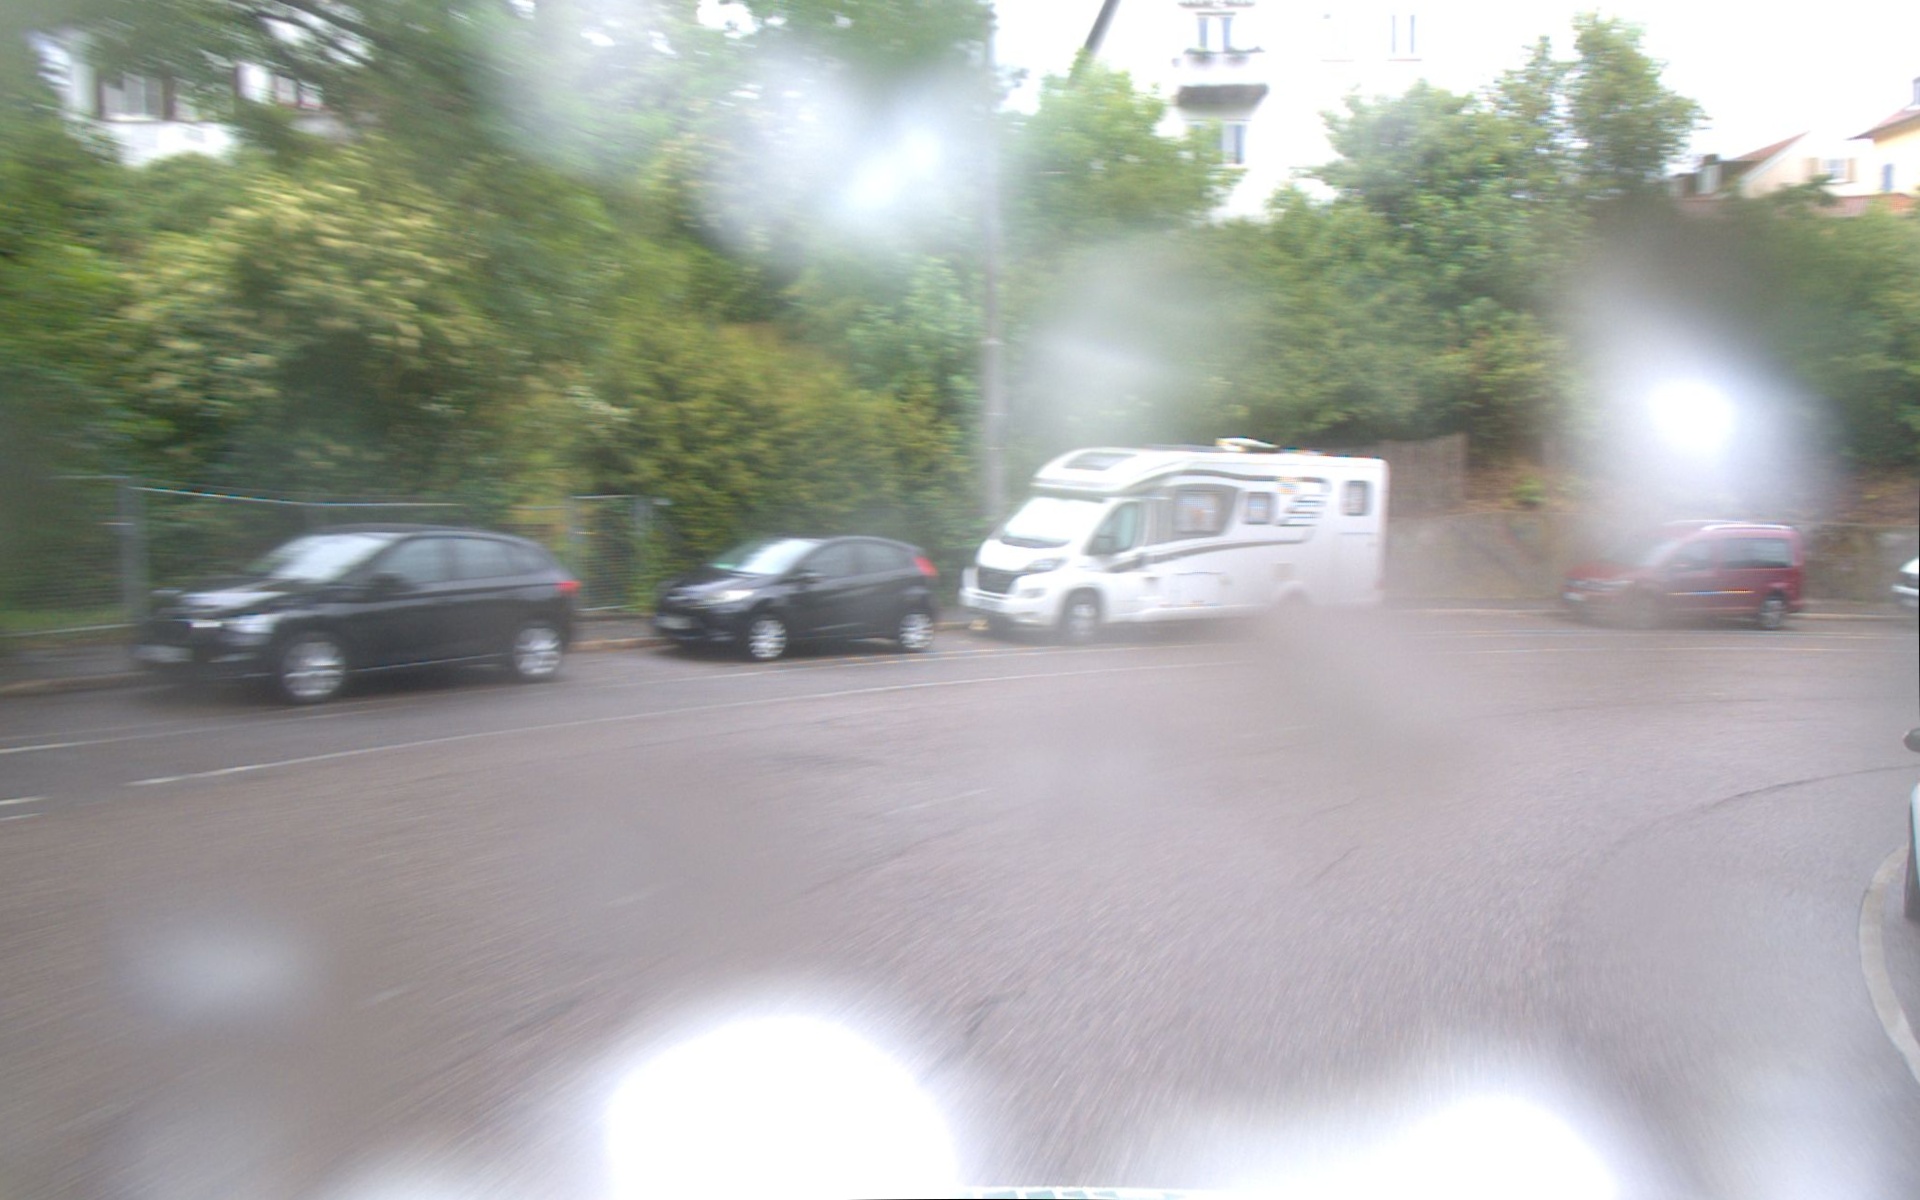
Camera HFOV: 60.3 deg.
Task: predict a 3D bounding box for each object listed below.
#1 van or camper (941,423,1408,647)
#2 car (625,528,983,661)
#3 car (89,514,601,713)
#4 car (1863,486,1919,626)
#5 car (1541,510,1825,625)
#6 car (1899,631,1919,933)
[{"bbox_3d":[3.442,-1.019,25.150,7.577,2.982,2.175,-1,5,-36],"label":"van or camper"},{"bbox_3d":[-1.832,-0.100,20.447,1.730,1.379,4.283,6,5,44],"label":"car"},{"bbox_3d":[-5.450,0.034,15.250,1.745,1.490,4.306,4,3,29],"label":"car"},{"bbox_3d":[21.708,-0.756,32.177,6.955,2.579,2.330,2,5,-4],"label":"car"},{"bbox_3d":[13.465,-0.604,30.832,4.833,1.920,1.785,1,5,-19],"label":"car"},{"bbox_3d":[5.469,0.971,7.703,1.652,1.432,3.725,4,2,27],"label":"car"}]
